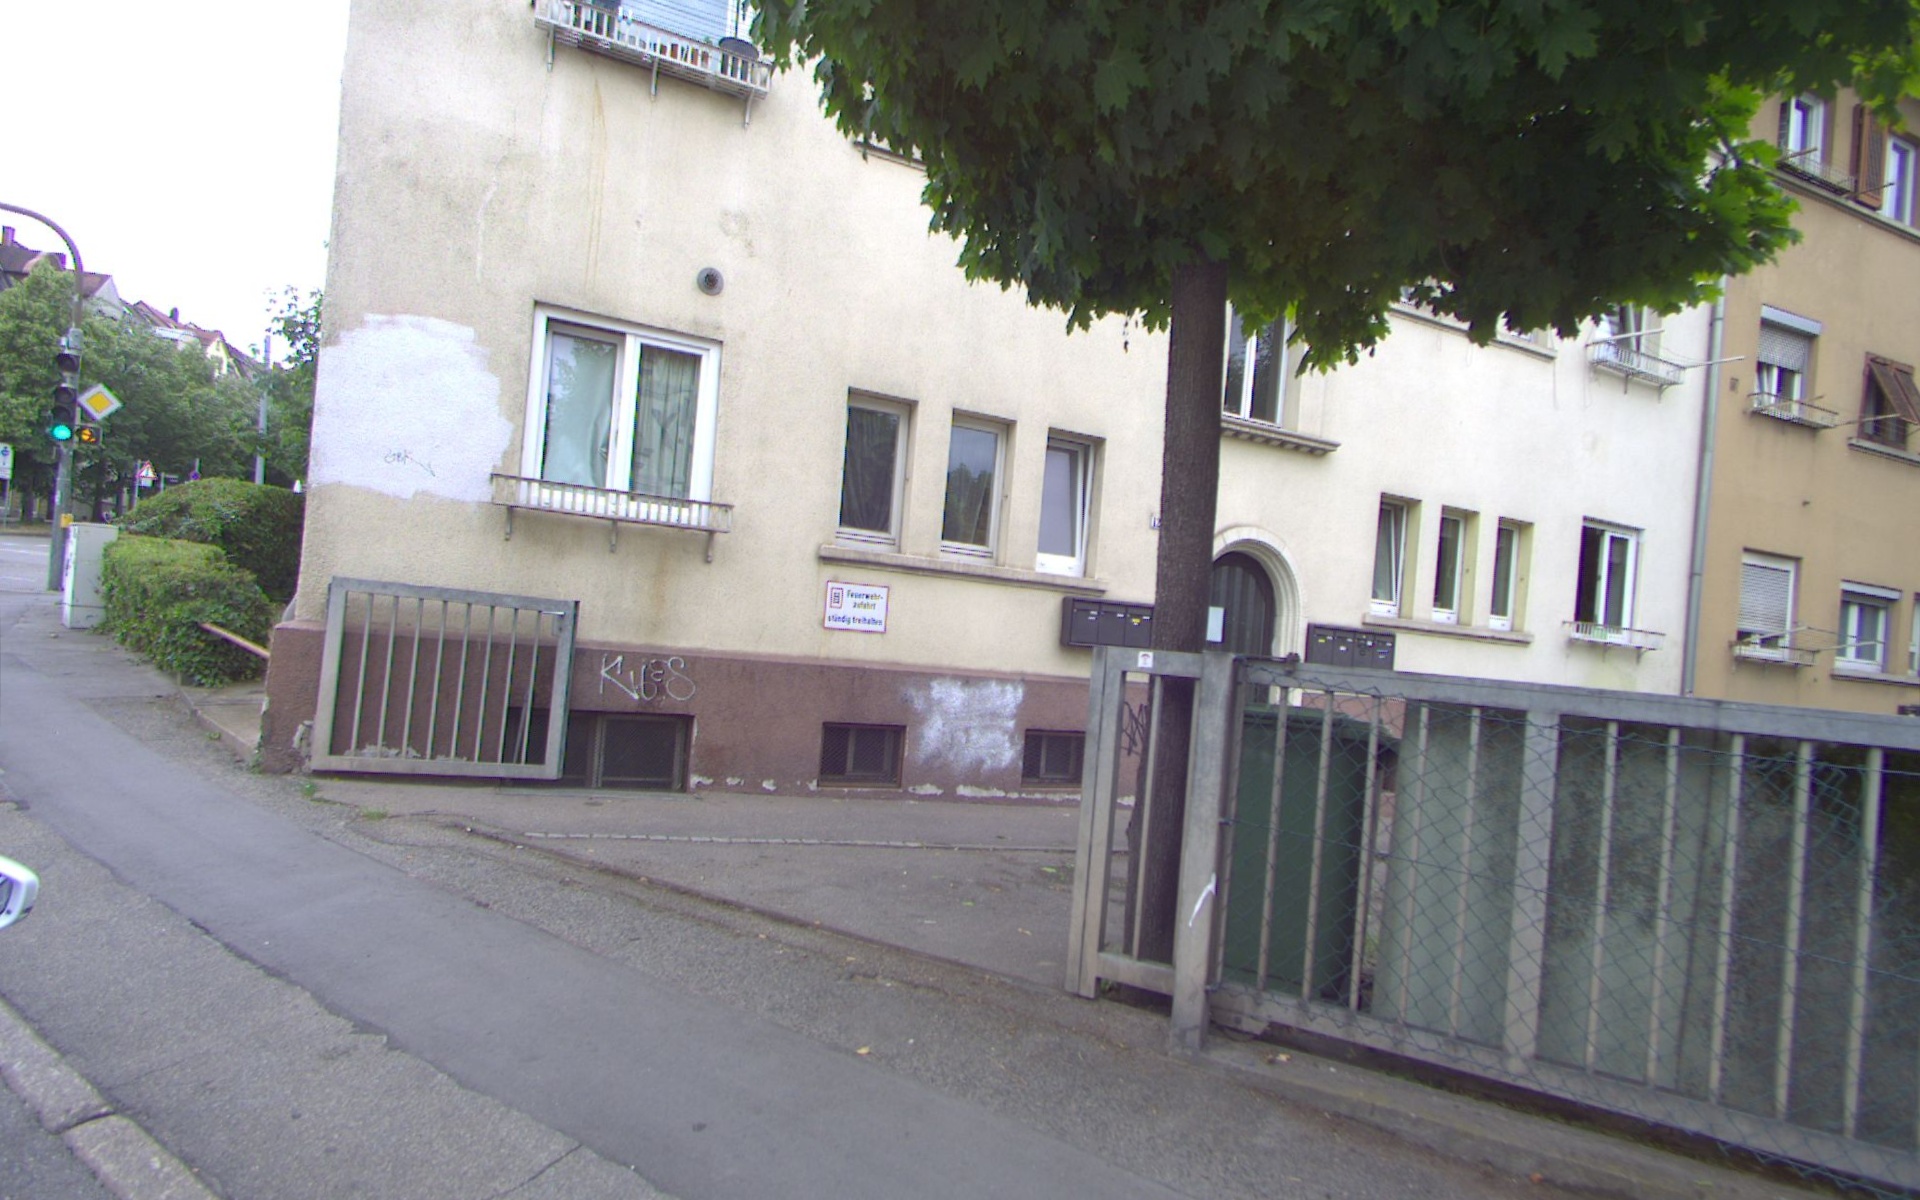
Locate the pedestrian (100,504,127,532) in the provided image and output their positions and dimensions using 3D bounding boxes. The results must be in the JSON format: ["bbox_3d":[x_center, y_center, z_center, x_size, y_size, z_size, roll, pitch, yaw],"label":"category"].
[{"bbox_3d":[-67.404,-6.518,80.081,1.179,2.038,0.985,7,0,-19],"label":"pedestrian"}]
